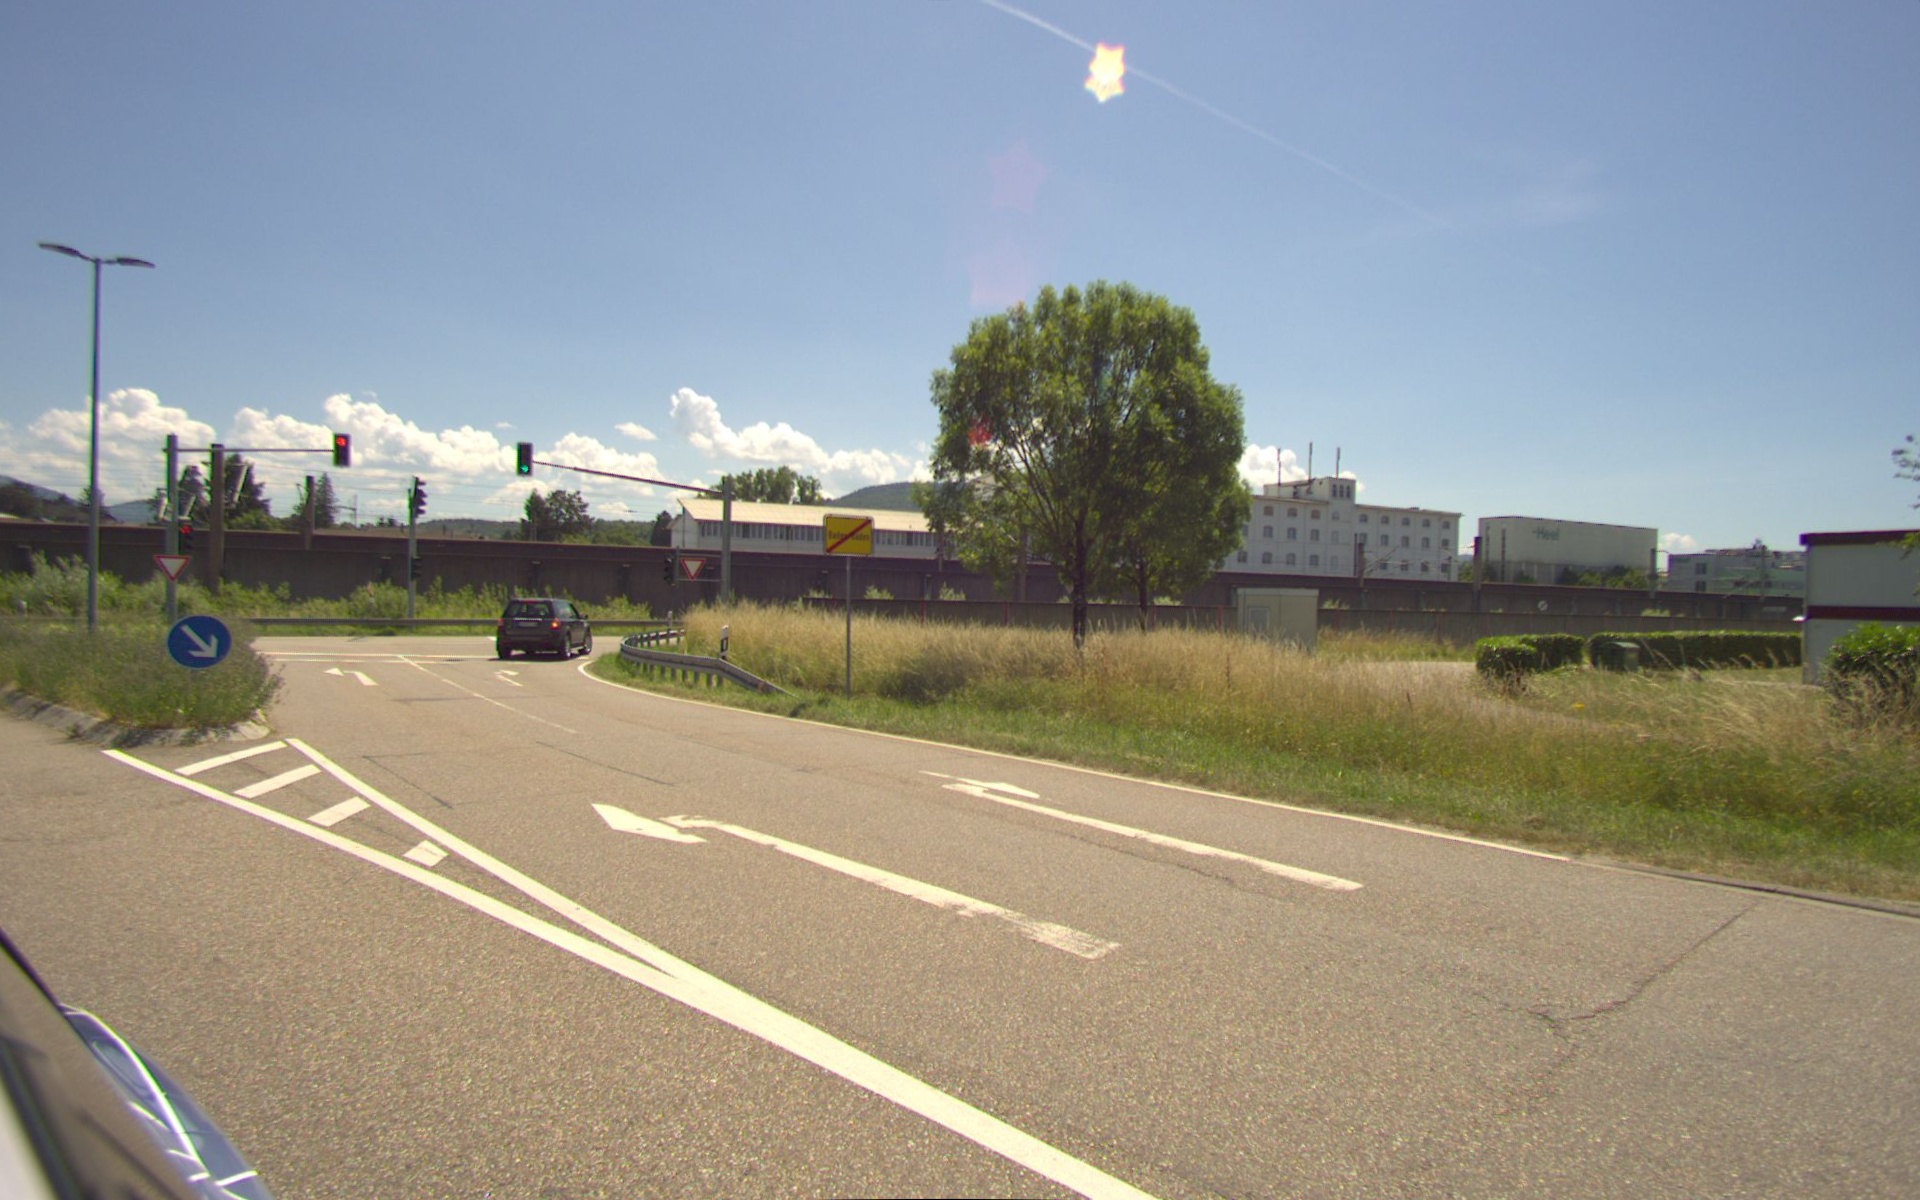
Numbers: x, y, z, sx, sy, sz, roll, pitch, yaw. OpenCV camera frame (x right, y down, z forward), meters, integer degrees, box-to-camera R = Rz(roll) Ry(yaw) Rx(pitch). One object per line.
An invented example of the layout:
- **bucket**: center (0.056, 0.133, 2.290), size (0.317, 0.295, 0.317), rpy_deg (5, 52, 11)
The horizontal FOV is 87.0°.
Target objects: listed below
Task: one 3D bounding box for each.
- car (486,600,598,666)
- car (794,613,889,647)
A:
- **car**: center (-12.229, 0.966, 29.952), size (1.968, 1.735, 4.492), rpy_deg (3, -2, -9)
- **car**: center (-5.191, 1.315, 44.625), size (3.796, 1.420, 1.737), rpy_deg (1, -1, -35)
